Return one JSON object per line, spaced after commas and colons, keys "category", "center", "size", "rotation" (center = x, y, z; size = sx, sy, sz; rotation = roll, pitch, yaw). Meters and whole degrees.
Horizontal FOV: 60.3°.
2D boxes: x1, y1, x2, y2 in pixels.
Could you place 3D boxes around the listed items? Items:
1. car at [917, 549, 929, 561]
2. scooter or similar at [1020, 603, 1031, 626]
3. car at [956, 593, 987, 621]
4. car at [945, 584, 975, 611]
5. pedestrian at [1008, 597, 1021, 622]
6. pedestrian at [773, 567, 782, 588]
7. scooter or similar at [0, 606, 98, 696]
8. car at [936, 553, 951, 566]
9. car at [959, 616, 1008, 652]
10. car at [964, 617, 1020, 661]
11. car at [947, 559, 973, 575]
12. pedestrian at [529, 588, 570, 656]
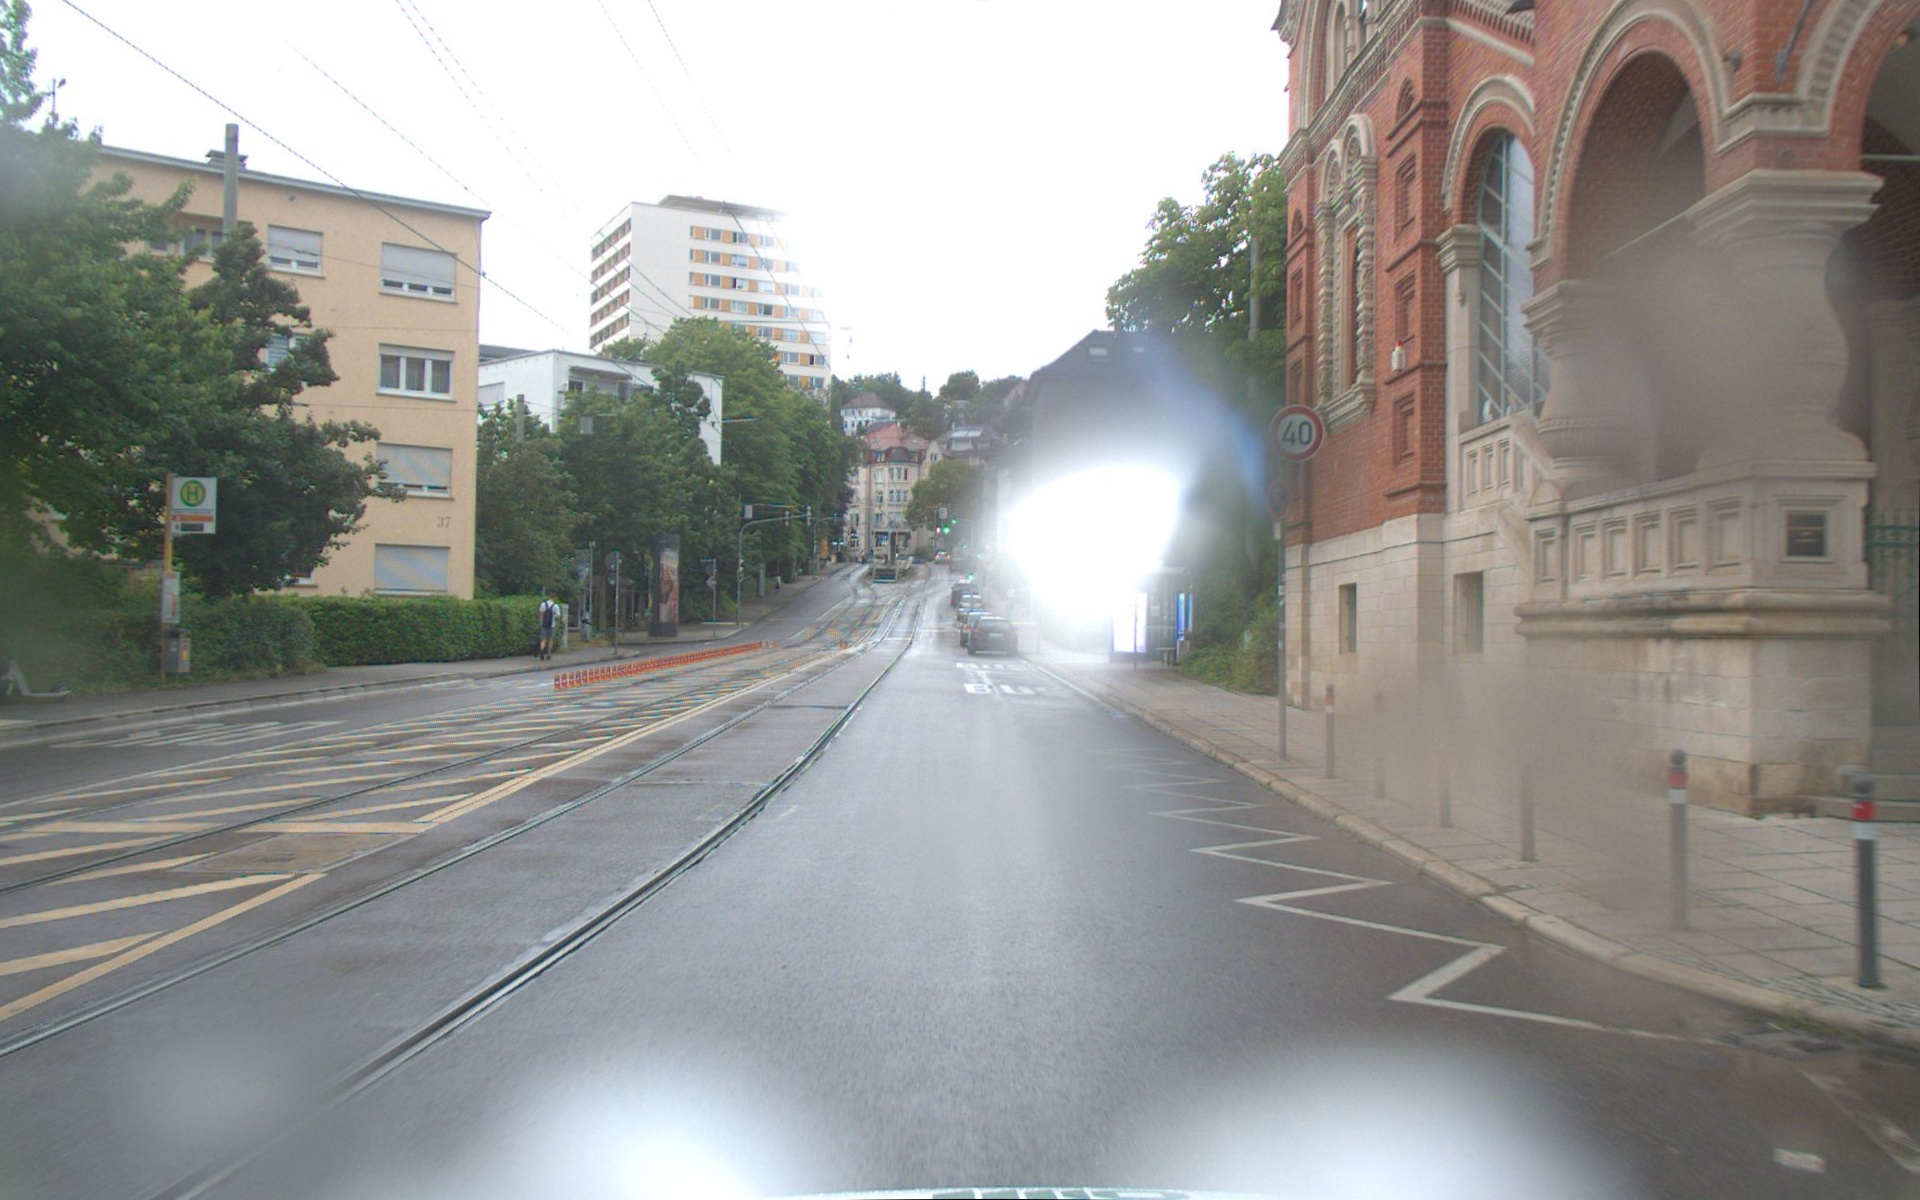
{"category": "car", "center": [-5.736, -6.973, 255.257], "size": [1.868, 1.670, 4.689], "rotation": [3, 2, -2]}
{"category": "scooter or similar", "center": [3.958, 0.856, 99.561], "size": [0.562, 1.270, 1.612], "rotation": [2, 4, 4]}
{"category": "car", "center": [0.687, 0.388, 98.898], "size": [1.670, 1.458, 4.101], "rotation": [3, 2, -2]}
{"category": "car", "center": [-0.032, -0.220, 115.109], "size": [1.868, 1.670, 4.689], "rotation": [3, 2, -2]}
{"category": "pedestrian", "center": [3.630, 0.652, 109.500], "size": [0.864, 1.610, 0.802], "rotation": [0, 3, 1]}
{"category": "pedestrian", "center": [-14.147, -1.750, 128.332], "size": [0.571, 1.628, 0.868], "rotation": [3, 1, -5]}
{"category": "scooter or similar", "center": [-12.820, 0.707, 22.964], "size": [0.560, 1.205, 1.601], "rotation": [1, -2, 13]}
{"category": "car", "center": [-2.293, -5.623, 227.275], "size": [1.868, 1.670, 4.689], "rotation": [3, 2, -2]}
{"category": "car", "center": [1.032, 1.485, 73.908], "size": [1.901, 1.490, 4.204], "rotation": [2, -1, -3]}
{"category": "car", "center": [1.179, 1.447, 62.343], "size": [1.820, 1.513, 4.643], "rotation": [2, -1, -2]}
{"category": "car", "center": [0.051, -3.779, 190.872], "size": [1.764, 1.674, 4.001], "rotation": [2, 0, 19]}
{"category": "pedestrian", "center": [-11.684, 0.628, 47.151], "size": [0.901, 1.878, 1.016], "rotation": [3, -2, -6]}
